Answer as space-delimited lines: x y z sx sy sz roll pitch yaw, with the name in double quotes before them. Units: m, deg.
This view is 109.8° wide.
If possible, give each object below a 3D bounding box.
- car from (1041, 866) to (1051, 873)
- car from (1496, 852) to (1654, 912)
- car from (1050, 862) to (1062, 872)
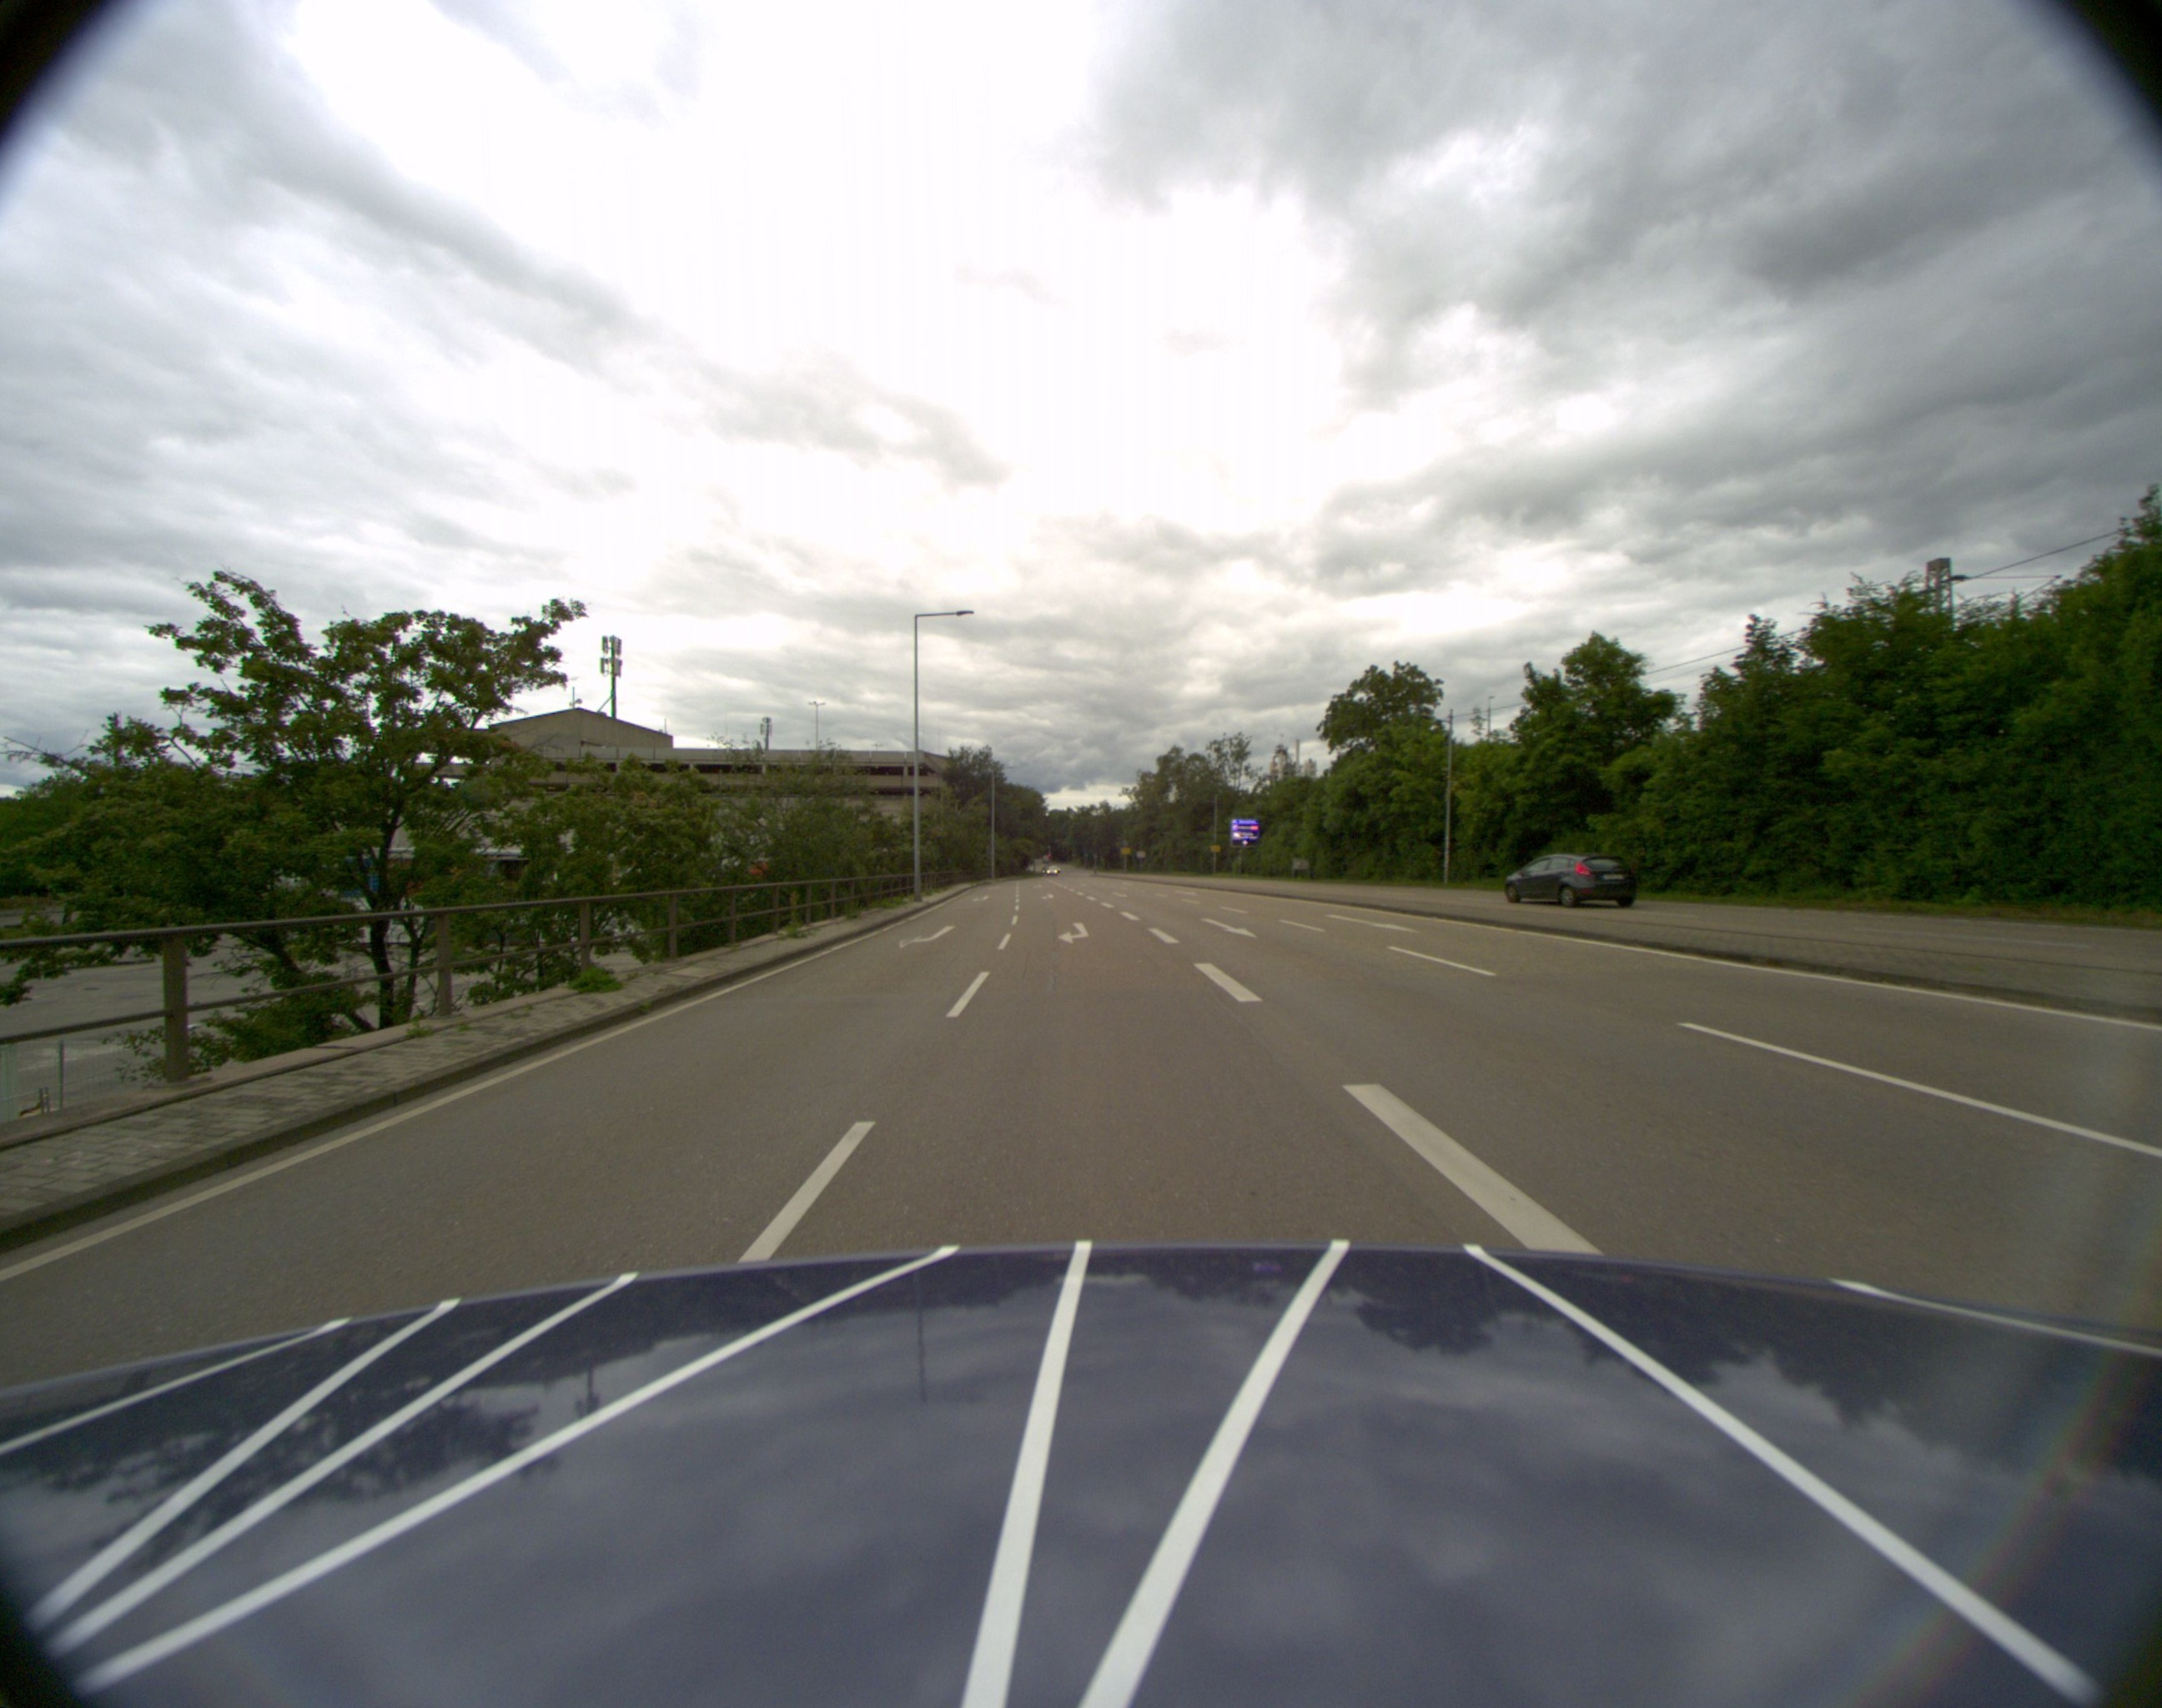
"car" -7.253 3.225 156.112 1.865 1.408 4.338 -1 0 -1
"car" 13.551 0.701 21.154 1.703 1.455 3.999 -2 0 -1
"car" -3.857 1.961 115.955 1.609 1.408 3.591 -1 0 1
